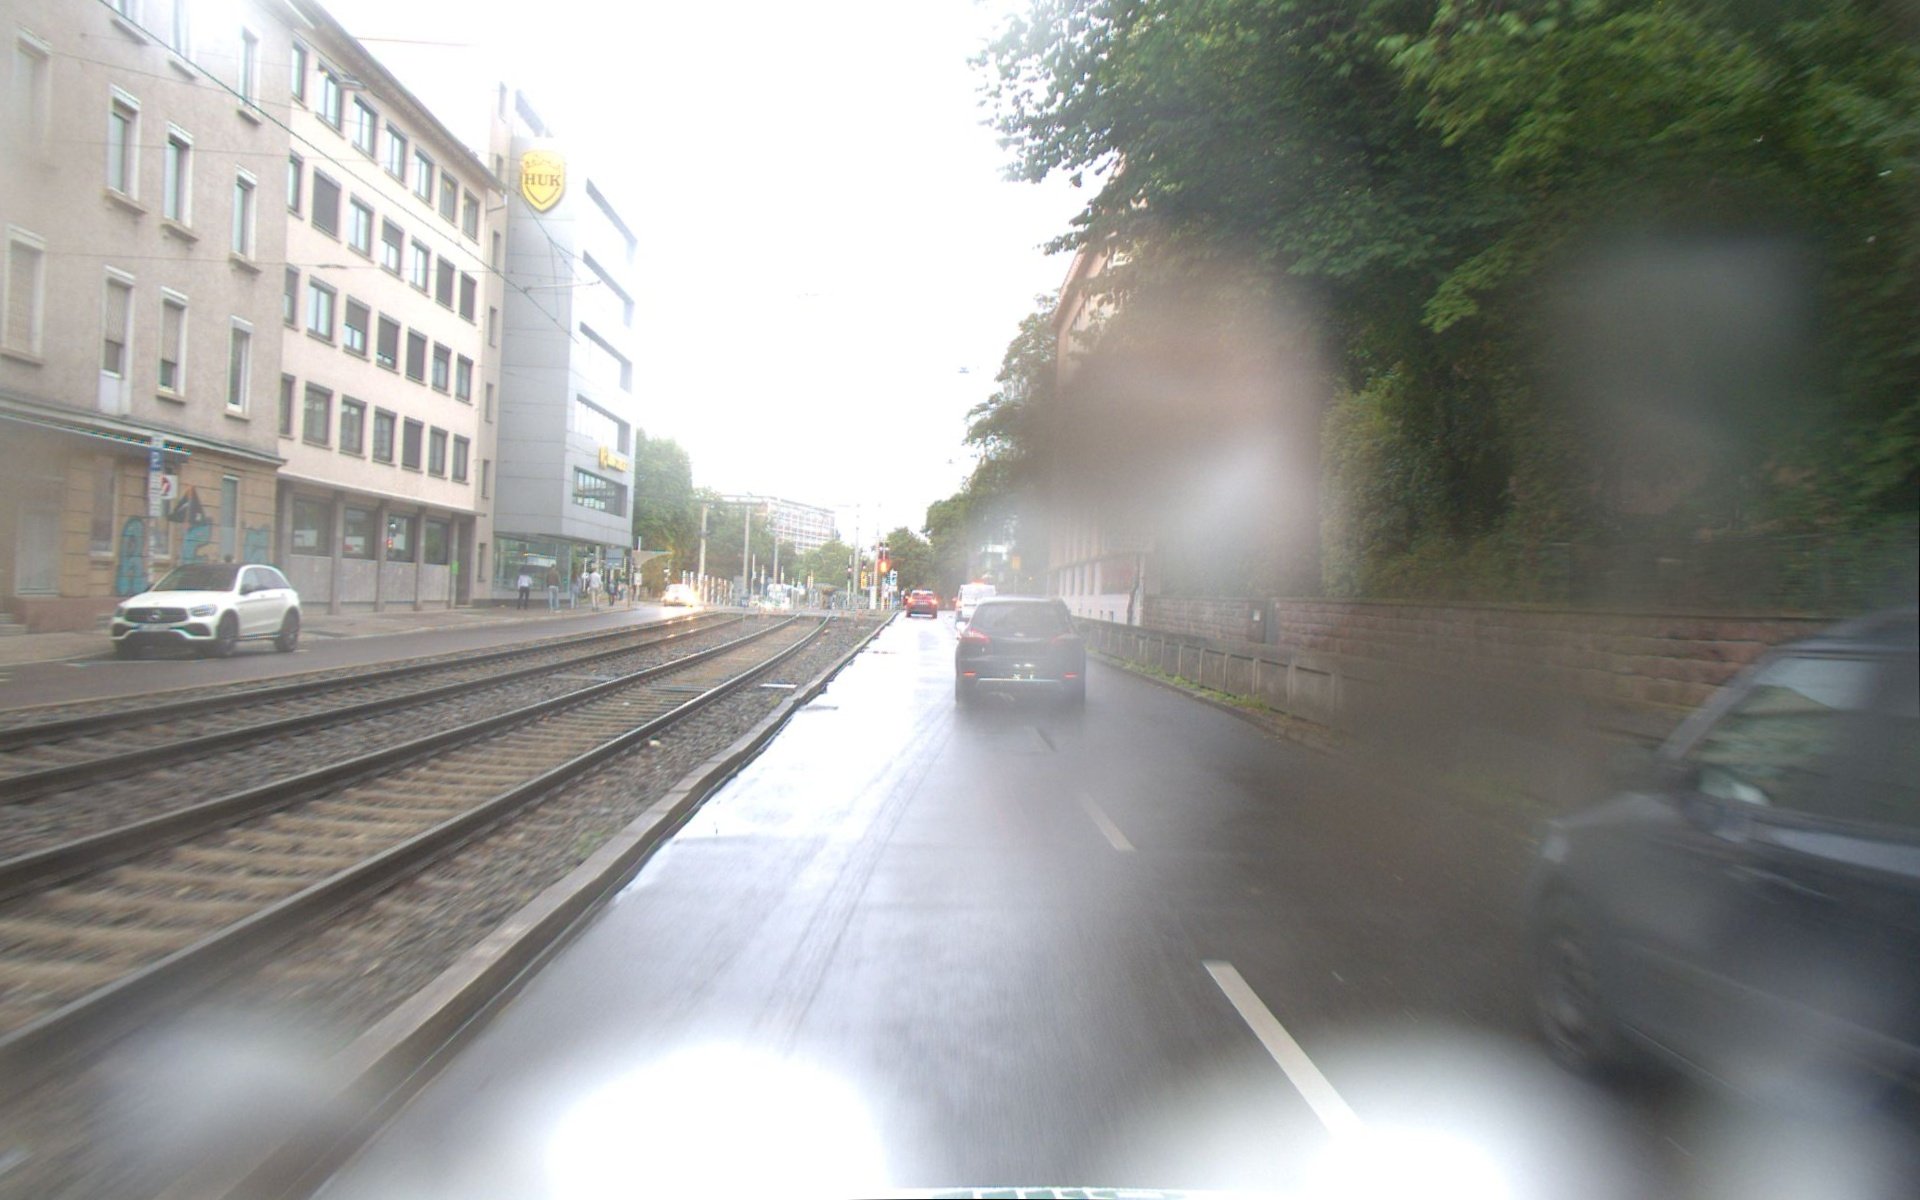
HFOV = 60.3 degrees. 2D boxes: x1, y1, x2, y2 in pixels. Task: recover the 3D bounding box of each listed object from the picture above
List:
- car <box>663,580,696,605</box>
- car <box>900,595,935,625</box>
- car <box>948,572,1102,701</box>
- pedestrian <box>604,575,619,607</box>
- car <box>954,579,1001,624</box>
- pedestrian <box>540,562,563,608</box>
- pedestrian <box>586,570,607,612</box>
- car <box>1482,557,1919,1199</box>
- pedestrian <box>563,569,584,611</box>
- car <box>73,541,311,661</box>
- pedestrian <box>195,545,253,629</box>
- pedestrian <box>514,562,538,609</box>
[{"bbox_3d":[-17.649,-0.485,104.200,1.957,1.467,3.992,3,0,-9],"label":"car"},{"bbox_3d":[-2.512,0.610,97.893,1.953,1.622,4.270,2,-1,-1],"label":"car"},{"bbox_3d":[0.838,0.521,23.744,1.953,1.622,4.270,2,-1,-1],"label":"car"},{"bbox_3d":[-20.855,-0.519,98.972,0.729,1.886,0.838,2,-2,-2],"label":"pedestrian"},{"bbox_3d":[0.739,0.086,74.033,1.953,1.848,4.270,2,-1,-1],"label":"car"},{"bbox_3d":[-16.984,-0.611,68.771,0.729,1.886,0.838,2,-2,-2],"label":"pedestrian"},{"bbox_3d":[-16.541,-0.413,75.231,0.729,1.886,0.838,2,-2,-2],"label":"pedestrian"},{"bbox_3d":[2.784,0.714,3.976,1.610,1.542,4.037,2,0,-2],"label":"car"},{"bbox_3d":[-17.560,-0.447,75.106,0.729,1.886,0.838,2,-2,-2],"label":"pedestrian"},{"bbox_3d":[-13.592,0.031,29.668,1.954,1.871,5.068,3,0,-2],"label":"car"},{"bbox_3d":[-16.311,-0.281,36.665,0.785,1.781,0.984,3,-1,-2],"label":"pedestrian"},{"bbox_3d":[-17.997,-0.604,68.660,0.729,1.886,0.838,2,-2,-2],"label":"pedestrian"}]
